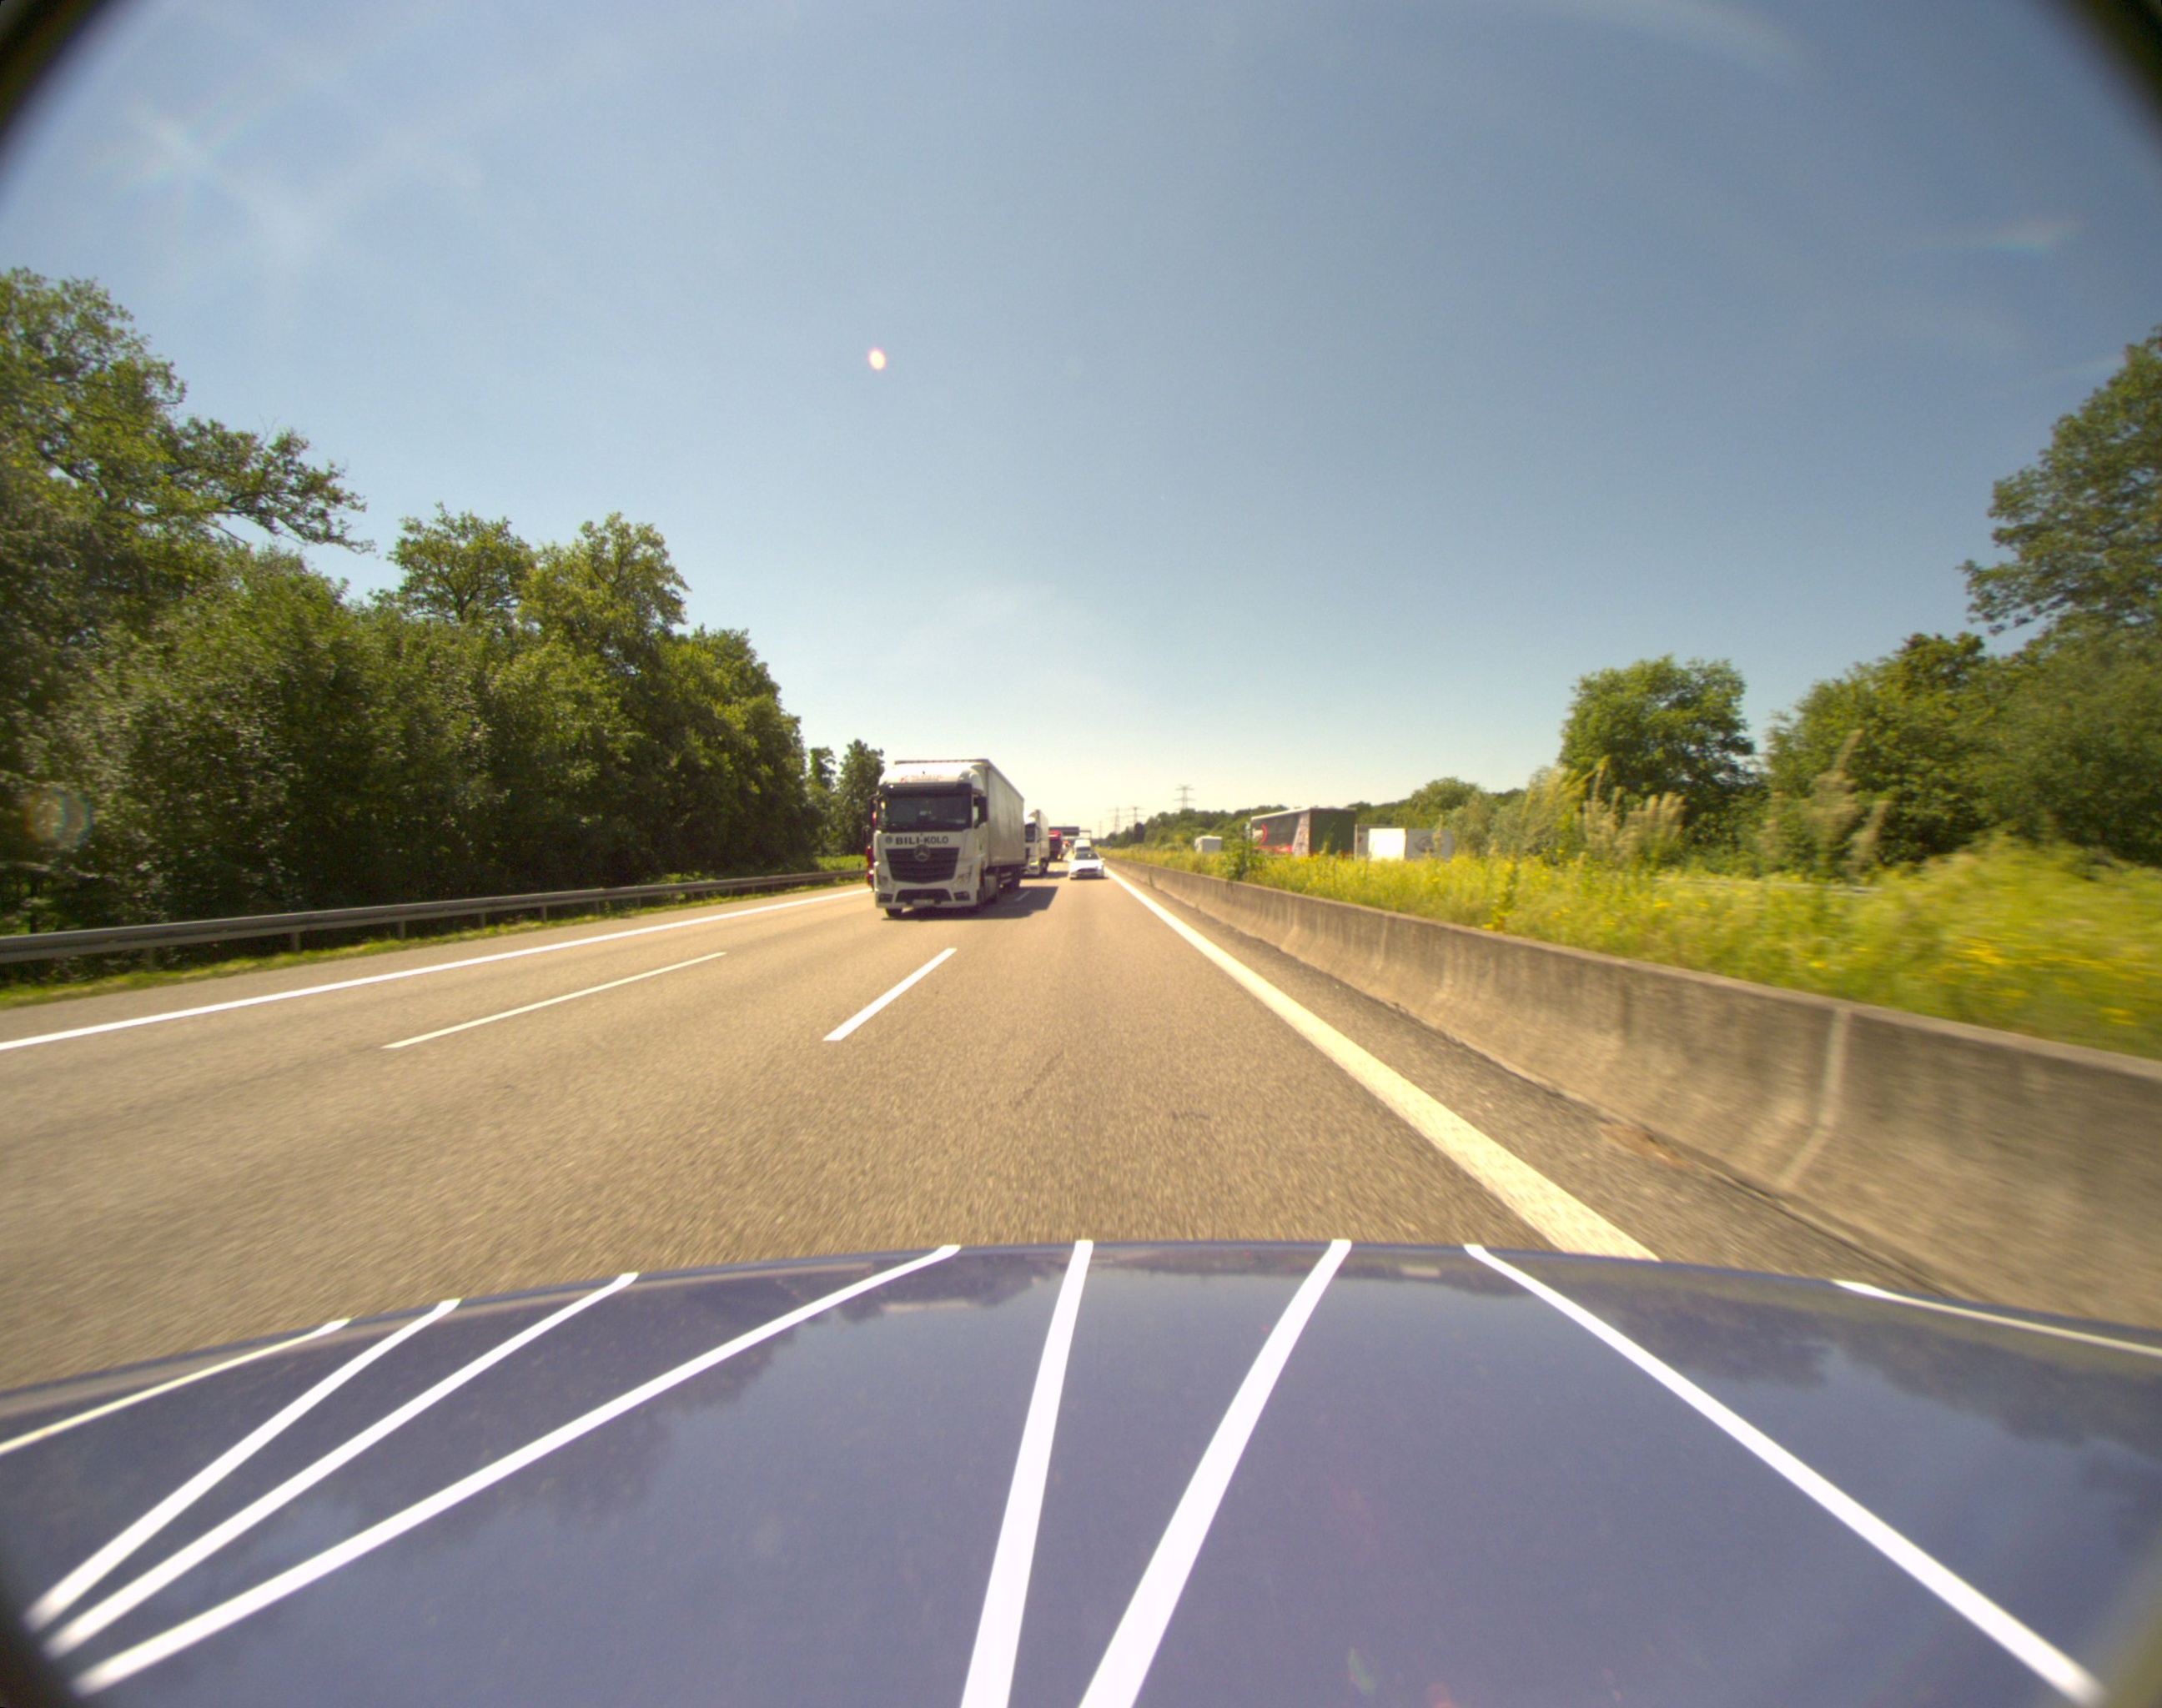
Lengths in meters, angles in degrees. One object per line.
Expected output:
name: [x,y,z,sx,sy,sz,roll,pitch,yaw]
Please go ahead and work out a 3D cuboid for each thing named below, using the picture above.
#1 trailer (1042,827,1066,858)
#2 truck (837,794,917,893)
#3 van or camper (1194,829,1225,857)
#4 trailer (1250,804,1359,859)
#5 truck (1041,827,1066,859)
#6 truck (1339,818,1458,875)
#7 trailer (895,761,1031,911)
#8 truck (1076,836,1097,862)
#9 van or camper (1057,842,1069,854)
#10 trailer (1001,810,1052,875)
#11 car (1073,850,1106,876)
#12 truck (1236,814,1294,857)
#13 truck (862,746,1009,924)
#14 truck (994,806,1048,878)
trailer: [-3.771,-1.578,108.150,2.945,3.995,16.194,-2,1,-1]
truck: [-9.302,-0.454,35.061,2.334,4.206,4.672,-1,0,0]
van or camper: [15.360,-1.336,91.396,2.513,3.137,7.533,-2,1,1]
trailer: [13.616,-1.270,48.038,2.649,2.952,14.230,-1,1,0]
truck: [-3.538,-1.440,98.508,2.949,3.963,6.099,-2,1,-2]
truck: [18.393,-0.442,45.001,2.694,2.925,10.485,-1,1,0]
trailer: [-3.726,-0.648,28.289,2.714,4.045,14.741,-2,1,0]
truck: [0.600,-0.612,89.282,2.192,2.842,5.502,-2,1,-1]
van or camper: [-3.799,-1.199,158.207,2.412,2.483,6.430,-1,1,-1]
trailer: [-3.604,-0.800,53.659,2.802,4.012,12.564,-1,1,-1]
car: [0.449,0.487,45.253,1.788,1.462,3.999,-1,1,-1]
truck: [13.582,-1.349,56.571,2.613,2.991,6.971,-1,1,0]
truck: [-3.693,-0.502,20.922,2.707,4.071,6.451,-2,1,0]
truck: [-3.510,-0.704,45.817,2.807,3.984,6.019,-1,1,-1]
